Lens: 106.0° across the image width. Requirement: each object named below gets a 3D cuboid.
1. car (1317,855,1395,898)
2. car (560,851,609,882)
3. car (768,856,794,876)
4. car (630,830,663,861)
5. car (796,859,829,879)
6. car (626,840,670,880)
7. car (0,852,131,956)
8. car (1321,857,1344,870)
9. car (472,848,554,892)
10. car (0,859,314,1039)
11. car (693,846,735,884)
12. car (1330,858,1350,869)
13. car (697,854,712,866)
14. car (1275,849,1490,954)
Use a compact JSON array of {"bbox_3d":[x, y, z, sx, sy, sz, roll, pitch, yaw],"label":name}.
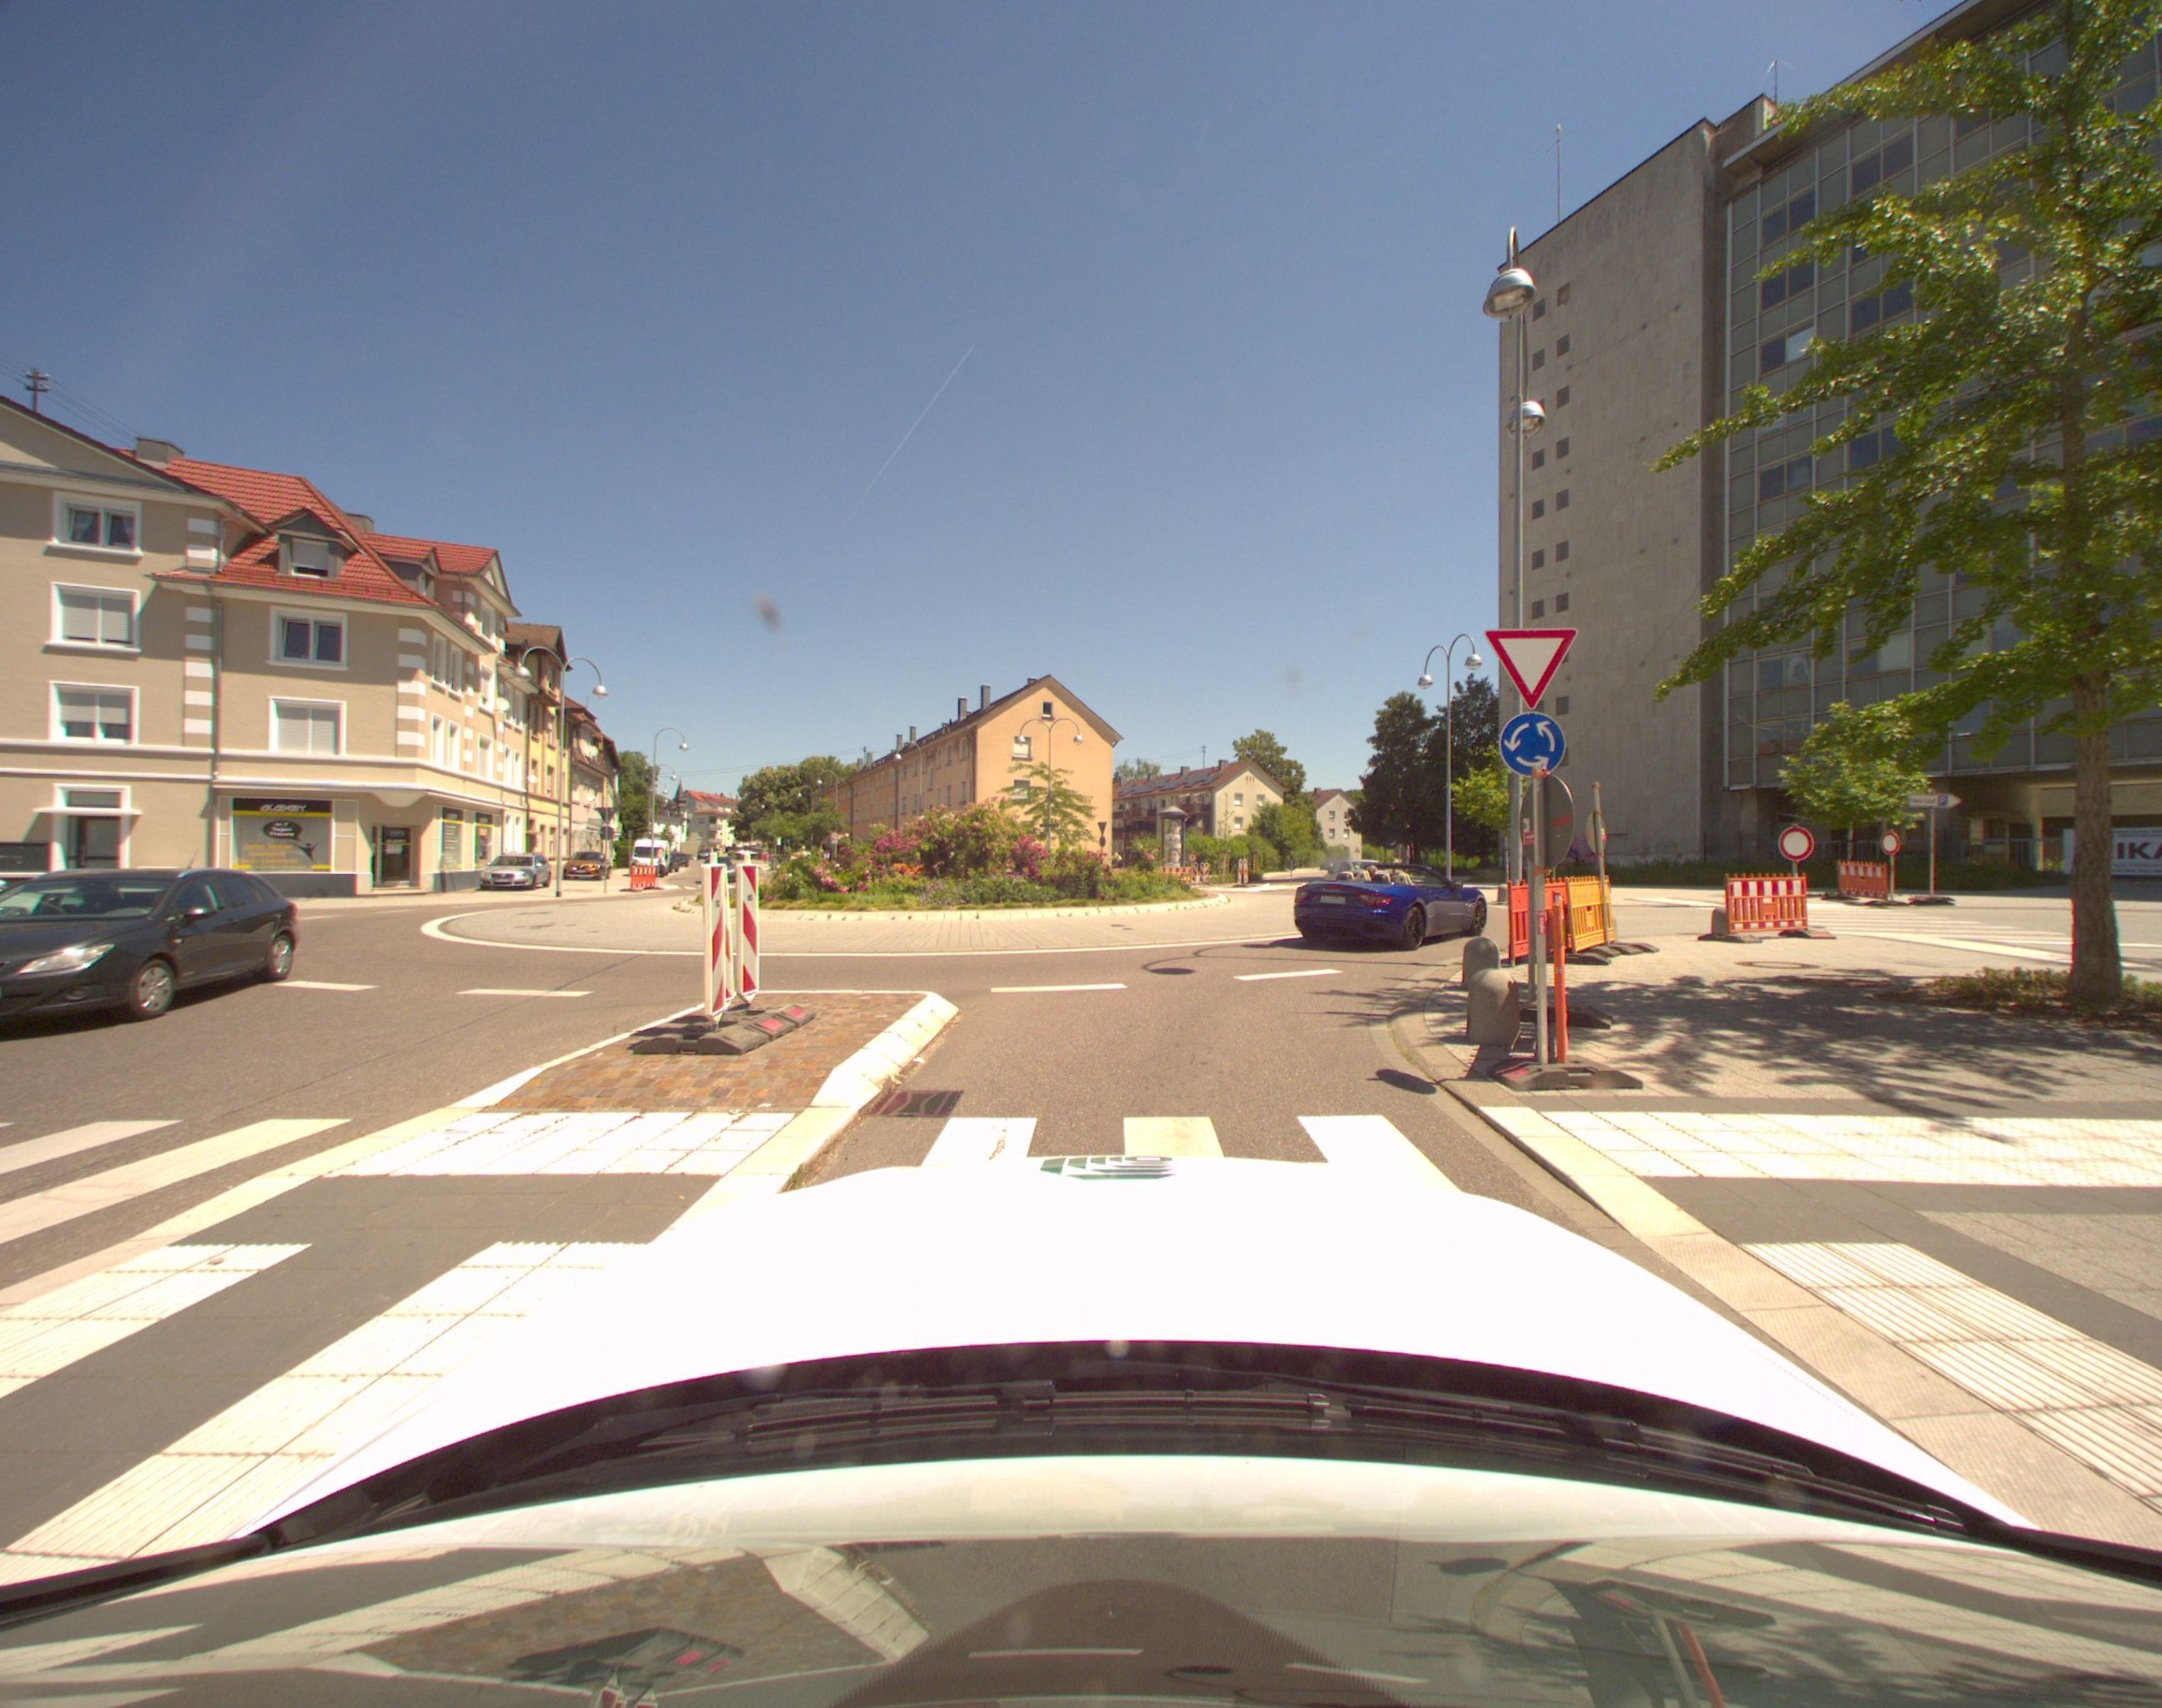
[{"bbox_3d":[10.132,0.799,30.278,1.732,1.436,3.711,-1,-1,1],"label":"car"},{"bbox_3d":[-27.334,0.670,44.961,1.605,1.617,4.061,3,-1,-22],"label":"car"},{"bbox_3d":[-28.988,1.125,78.704,1.823,1.794,3.964,2,-2,-28],"label":"car"},{"bbox_3d":[-37.244,-0.695,69.889,2.155,2.533,4.815,3,-1,-25],"label":"car"},{"bbox_3d":[-21.259,1.149,64.353,1.823,1.500,3.964,2,-2,-28],"label":"car"},{"bbox_3d":[-29.260,0.415,55.192,2.155,2.533,6.186,3,-1,-25],"label":"car"},{"bbox_3d":[-18.427,0.757,12.907,4.117,1.551,1.780,0,1,-12],"label":"car"},{"bbox_3d":[30.344,1.163,98.177,1.722,1.436,3.734,-2,-1,31],"label":"car"},{"bbox_3d":[-23.332,0.616,33.641,1.783,1.686,4.659,1,-1,-23],"label":"car"},{"bbox_3d":[-10.010,0.822,8.627,1.669,1.452,3.987,-2,1,-28],"label":"car"},{"bbox_3d":[-20.601,0.619,45.856,2.002,2.014,3.969,2,-1,-23],"label":"car"},{"bbox_3d":[34.988,1.276,109.879,1.722,1.436,3.734,-2,-1,31],"label":"car"},{"bbox_3d":[-58.561,0.935,126.529,1.823,1.794,3.964,2,-2,-28],"label":"car"},{"bbox_3d":[5.349,0.798,14.089,1.853,1.530,4.532,-1,-3,43],"label":"car"}]
